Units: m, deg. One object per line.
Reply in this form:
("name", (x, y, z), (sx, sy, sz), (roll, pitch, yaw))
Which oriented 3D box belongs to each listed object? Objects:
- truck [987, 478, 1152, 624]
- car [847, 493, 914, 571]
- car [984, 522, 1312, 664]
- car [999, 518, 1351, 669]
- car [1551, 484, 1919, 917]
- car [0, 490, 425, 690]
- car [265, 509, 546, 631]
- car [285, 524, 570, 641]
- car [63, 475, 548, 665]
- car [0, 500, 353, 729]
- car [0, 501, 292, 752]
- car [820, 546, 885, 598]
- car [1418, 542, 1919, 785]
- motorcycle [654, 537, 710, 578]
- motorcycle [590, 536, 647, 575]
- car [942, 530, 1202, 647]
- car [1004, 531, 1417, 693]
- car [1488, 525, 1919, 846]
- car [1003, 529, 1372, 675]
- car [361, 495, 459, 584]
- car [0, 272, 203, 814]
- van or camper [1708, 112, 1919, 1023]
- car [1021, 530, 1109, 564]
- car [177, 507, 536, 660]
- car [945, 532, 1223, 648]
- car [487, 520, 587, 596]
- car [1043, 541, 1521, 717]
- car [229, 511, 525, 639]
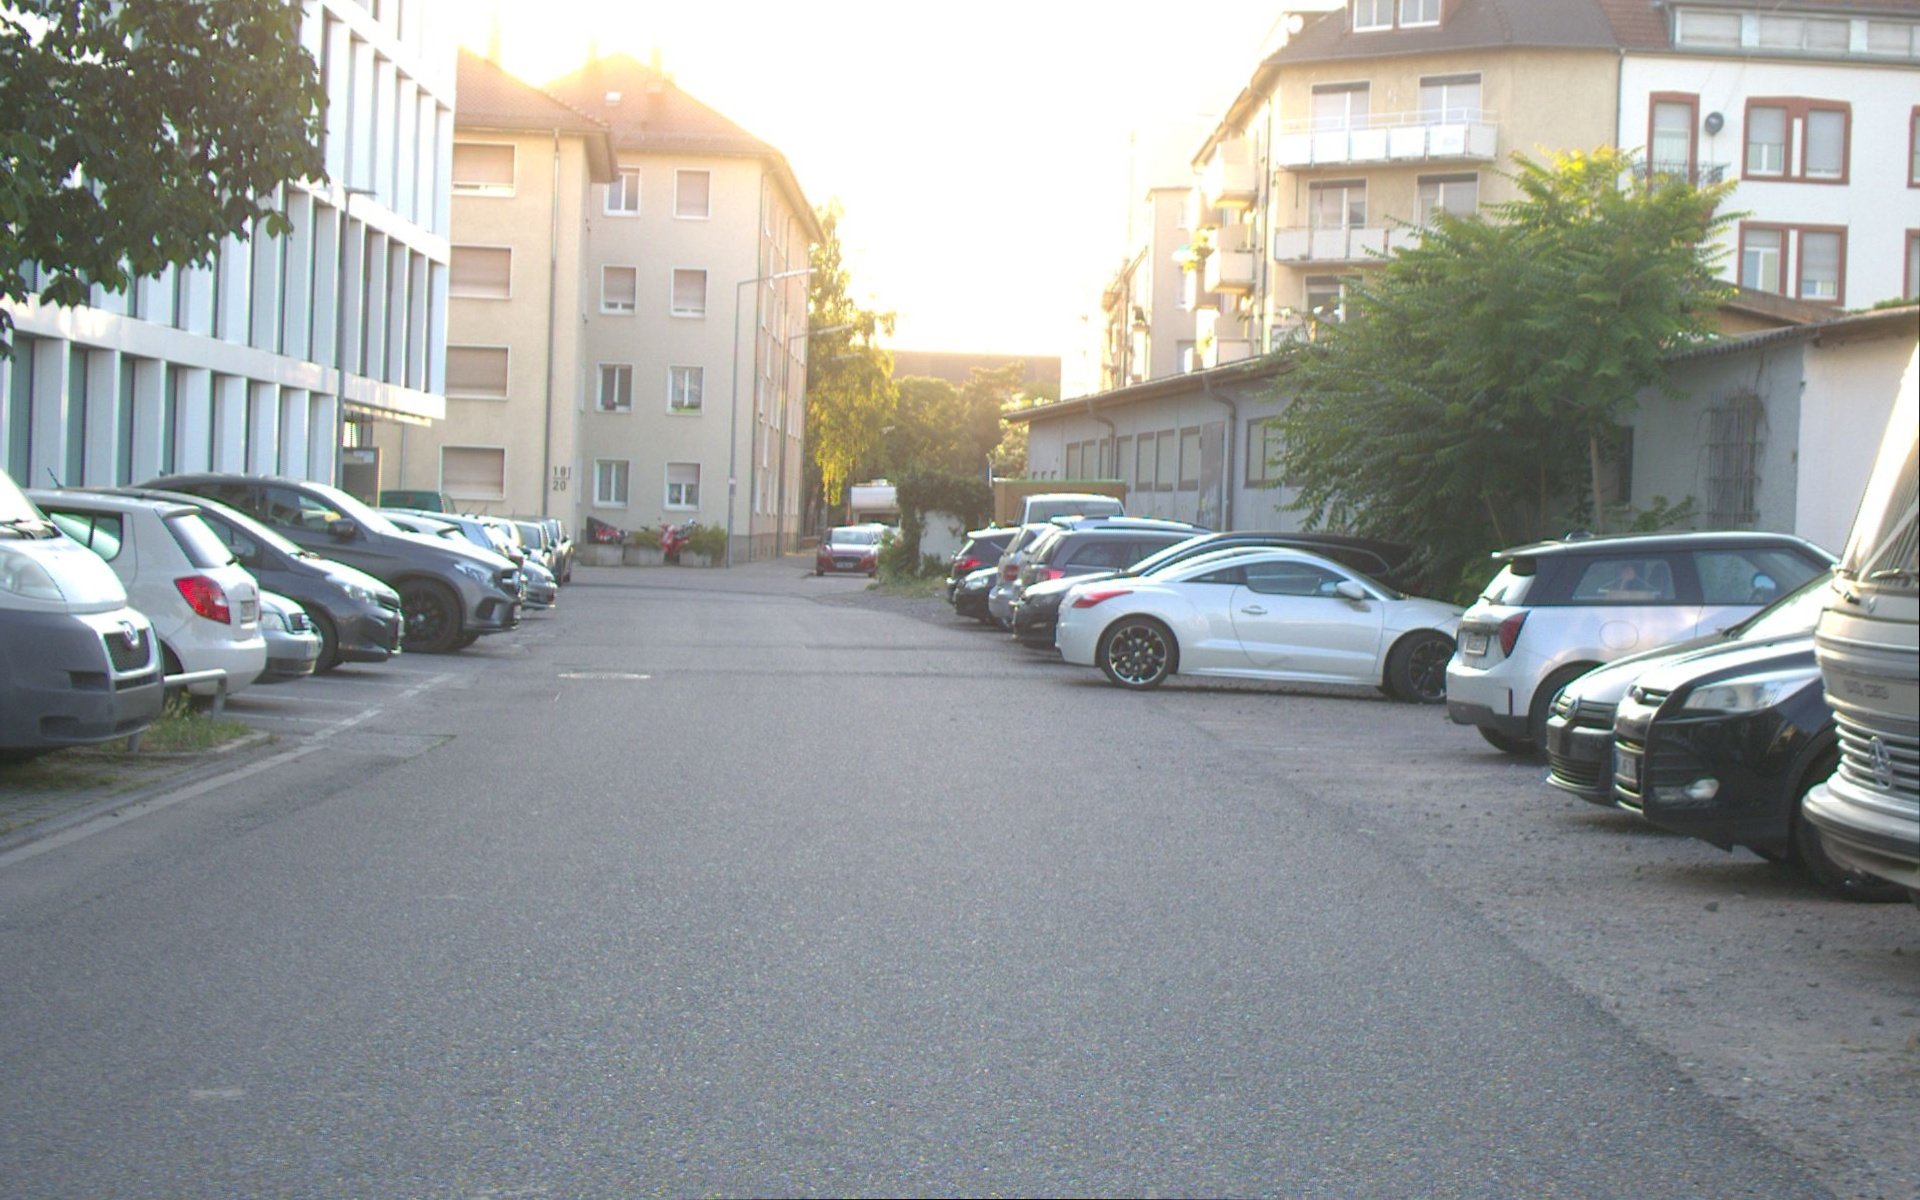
("truck", (1.721, -0.804, 56.176), (2.097, 2.193, 5.712), (2, 1, -3))
("car", (-3.405, -2.890, 148.293), (2.620, 3.258, 7.697), (0, 1, 0))
("car", (2.412, -0.101, 44.801), (3.983, 1.604, 1.939), (3, 1, -4))
("car", (2.607, -0.095, 42.300), (3.983, 1.613, 1.827), (3, 1, -6))
("car", (4.856, 0.418, 14.900), (4.241, 1.735, 1.968), (1, 1, 1))
("car", (-6.721, -0.112, 30.167), (3.781, 1.517, 1.694), (3, 1, -3))
("car", (-7.830, -0.437, 48.751), (3.654, 1.506, 1.688), (3, 1, -1))
("car", (-7.926, -0.279, 51.402), (3.926, 1.506, 1.688), (3, 1, 0))
("car", (-6.848, -0.333, 36.300), (4.619, 1.700, 2.004), (3, 1, 2))
("car", (-6.816, 0.032, 25.321), (4.308, 1.490, 1.795), (3, 1, 0))
("car", (-6.430, 0.098, 22.598), (3.707, 1.490, 1.708), (3, 1, -1))
("car", (-3.216, -0.854, 103.094), (1.845, 1.468, 4.078), (2, 1, -1))
("car", (4.998, 0.391, 22.332), (3.704, 1.474, 1.712), (1, 1, -5))
("motorcycle", (-8.149, -1.233, 100.916), (0.689, 1.156, 2.031), (2, 1, 24))
("motorcycle", (-9.766, -1.262, 98.384), (0.724, 1.075, 2.078), (2, 1, 21))
("car", (1.659, -0.191, 52.042), (3.759, 1.530, 1.892), (3, 2, -2))
("car", (2.650, 0.126, 37.047), (4.202, 1.498, 1.890), (3, 0, -1))
("car", (4.945, 0.422, 17.890), (4.003, 1.558, 1.712), (1, 1, -7))
("car", (2.573, 0.021, 39.521), (3.983, 1.440, 1.827), (3, 0, -3))
("car", (-12.966, -1.453, 81.232), (1.797, 1.973, 4.690), (2, 2, -4))
("car", (-6.906, -0.433, 17.845), (5.381, 2.623, 2.078), (3, 1, 0))
("van or camper", (5.815, -0.082, 11.928), (5.779, 2.854, 2.487), (1, 1, -4))
("car", (4.832, -2.428, 158.383), (3.987, 1.525, 1.659), (1, 1, 0))
("car", (-6.797, -0.203, 38.970), (3.667, 1.506, 1.696), (3, 1, 2))
("car", (1.762, -0.145, 49.615), (3.759, 1.439, 1.845), (3, 0, -4))
("car", (-9.361, -0.947, 76.333), (1.779, 1.474, 4.332), (5, 1, -3))
("car", (2.916, 0.247, 31.854), (4.202, 1.362, 1.823), (3, 1, 1))
("car", (-7.845, -0.357, 46.478), (3.654, 1.506, 1.688), (3, 1, -1))
